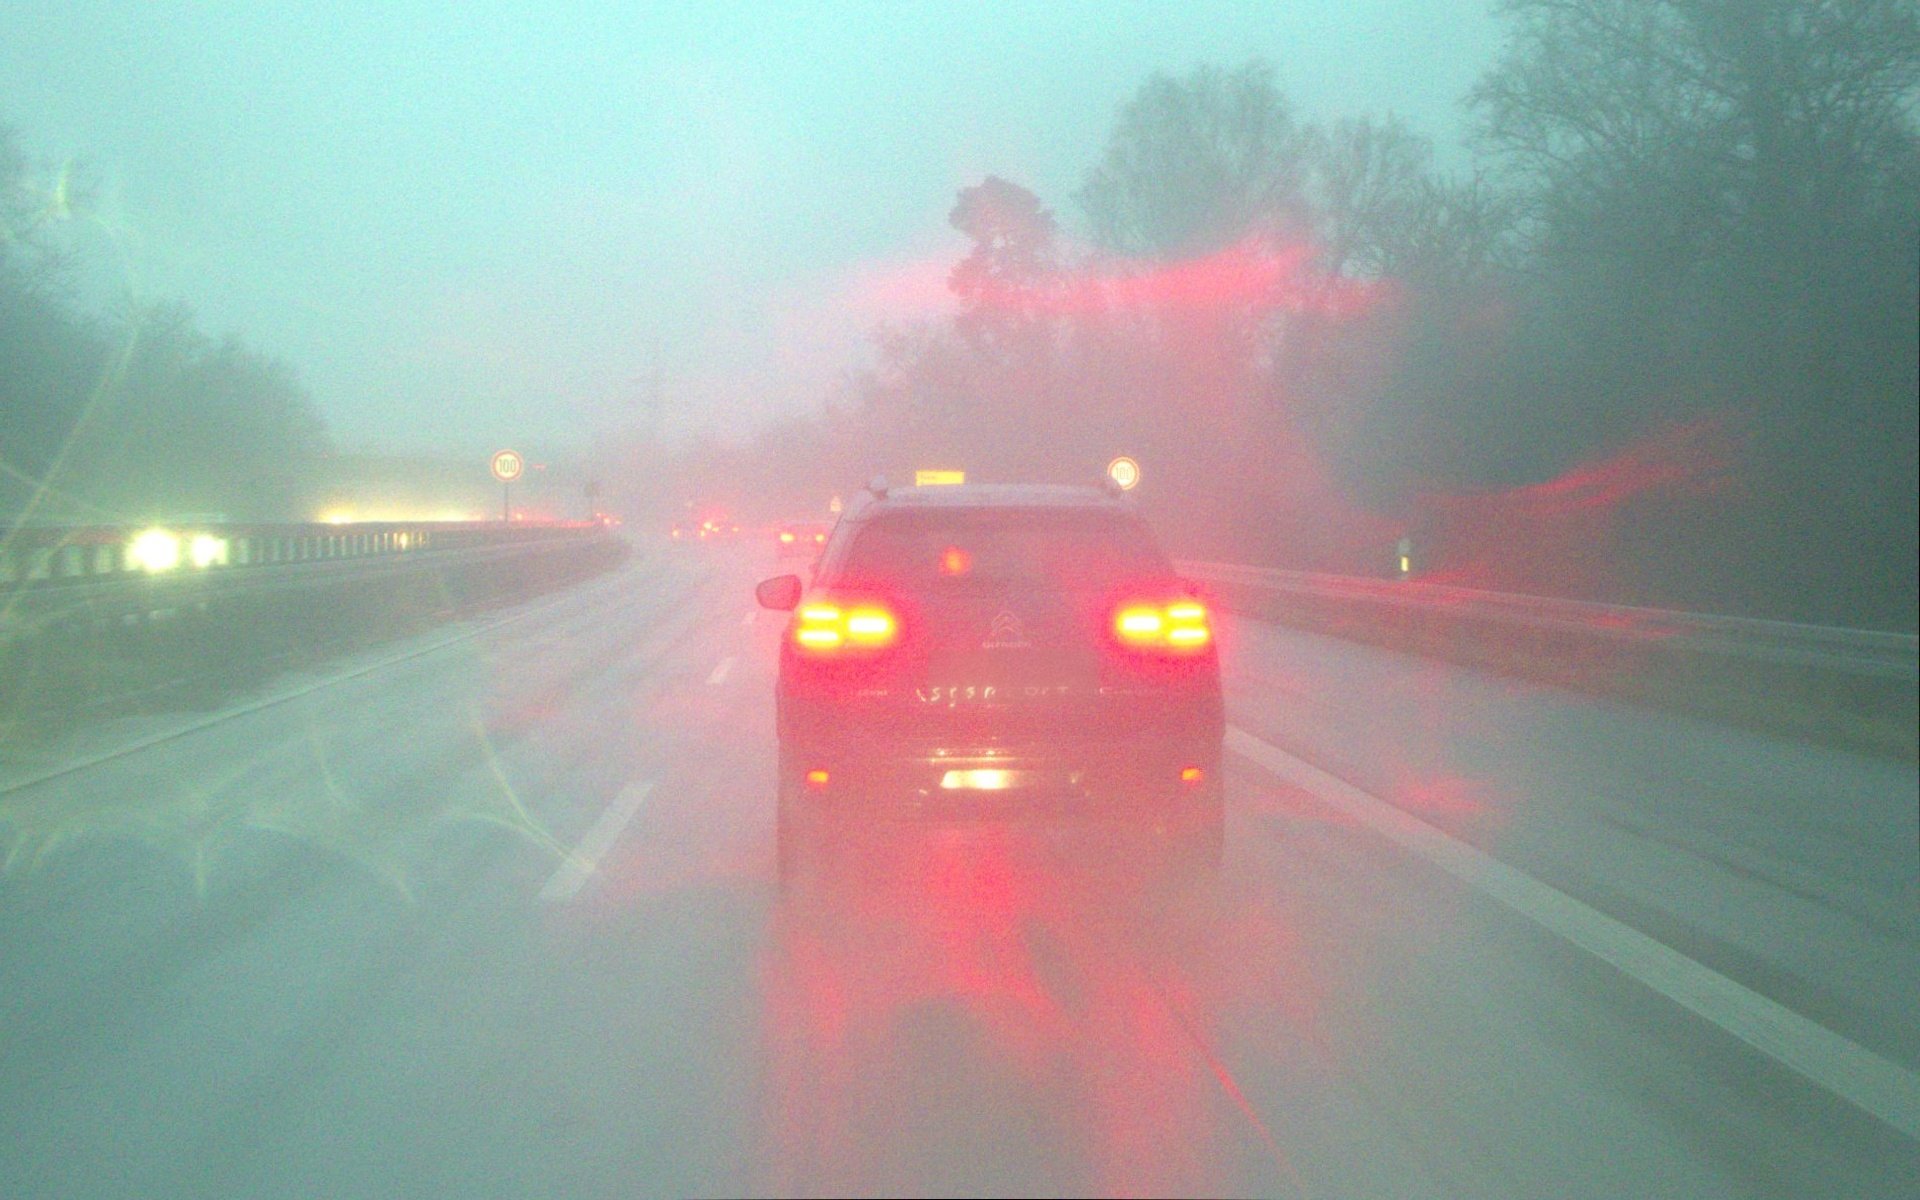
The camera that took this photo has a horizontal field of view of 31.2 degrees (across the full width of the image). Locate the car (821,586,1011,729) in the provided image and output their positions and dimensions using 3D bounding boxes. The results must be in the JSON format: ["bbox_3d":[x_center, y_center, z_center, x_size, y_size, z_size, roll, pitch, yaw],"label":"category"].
[{"bbox_3d":[-0.456,0.610,38.919,1.993,1.415,4.000,2,1,0],"label":"car"}]

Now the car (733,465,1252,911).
[{"bbox_3d":[0.056,0.305,15.195,1.992,1.709,3.830,0,1,-2],"label":"car"}]

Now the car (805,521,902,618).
[{"bbox_3d":[-2.305,-0.670,73.533,1.993,2.007,4.001,0,1,-3],"label":"car"}]
